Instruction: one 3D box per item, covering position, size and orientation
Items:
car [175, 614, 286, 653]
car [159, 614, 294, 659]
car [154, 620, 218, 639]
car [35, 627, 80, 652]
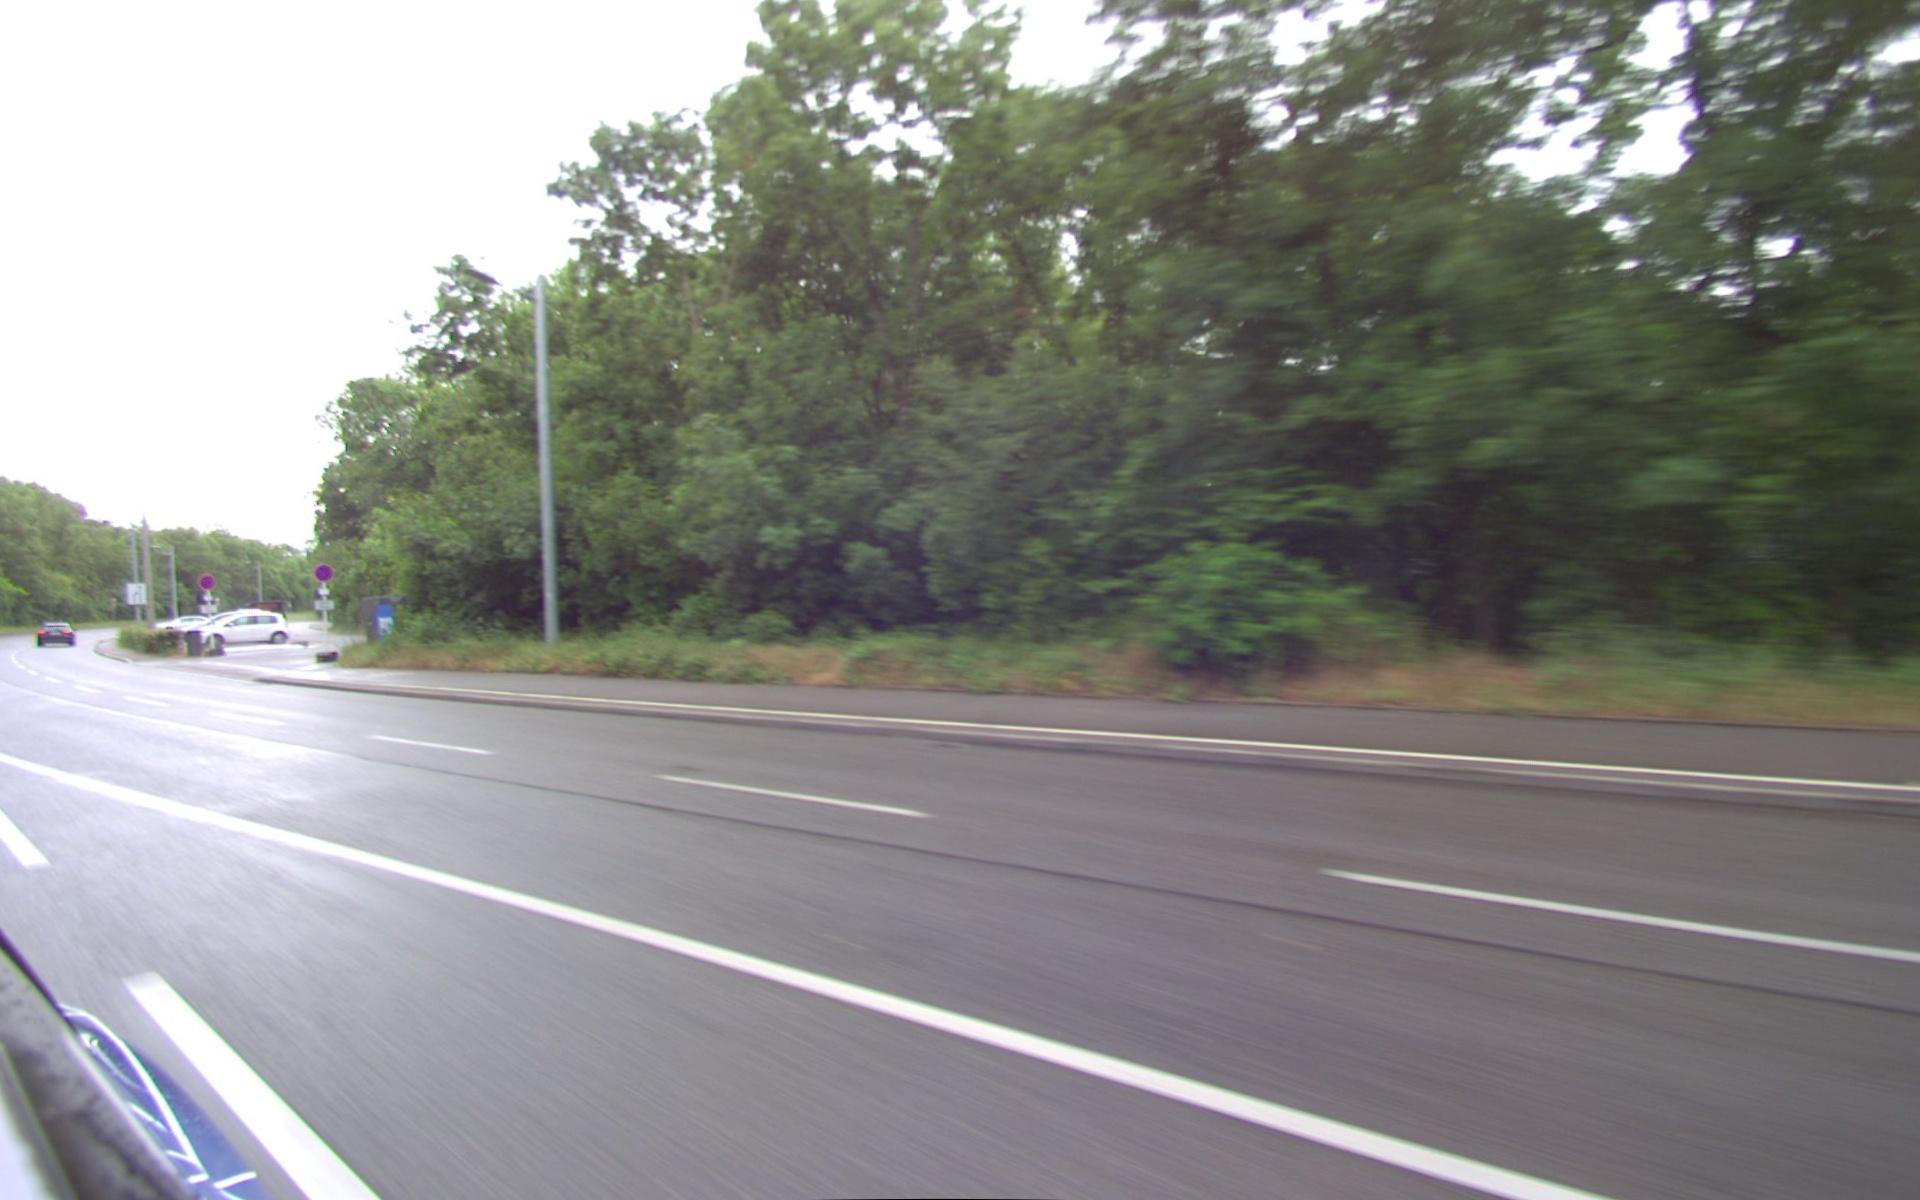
[{"bbox_3d":[-36.326,1.629,50.454,4.318,1.613,1.758,-3,2,-43],"label":"car"},{"bbox_3d":[-33.088,1.588,45.724,4.687,1.729,1.896,-3,2,-44],"label":"car"},{"bbox_3d":[-65.946,2.492,86.299,4.148,1.495,1.909,-1,-1,-44],"label":"car"},{"bbox_3d":[-56.557,2.429,63.477,1.828,1.484,3.921,0,-1,-38],"label":"car"}]
